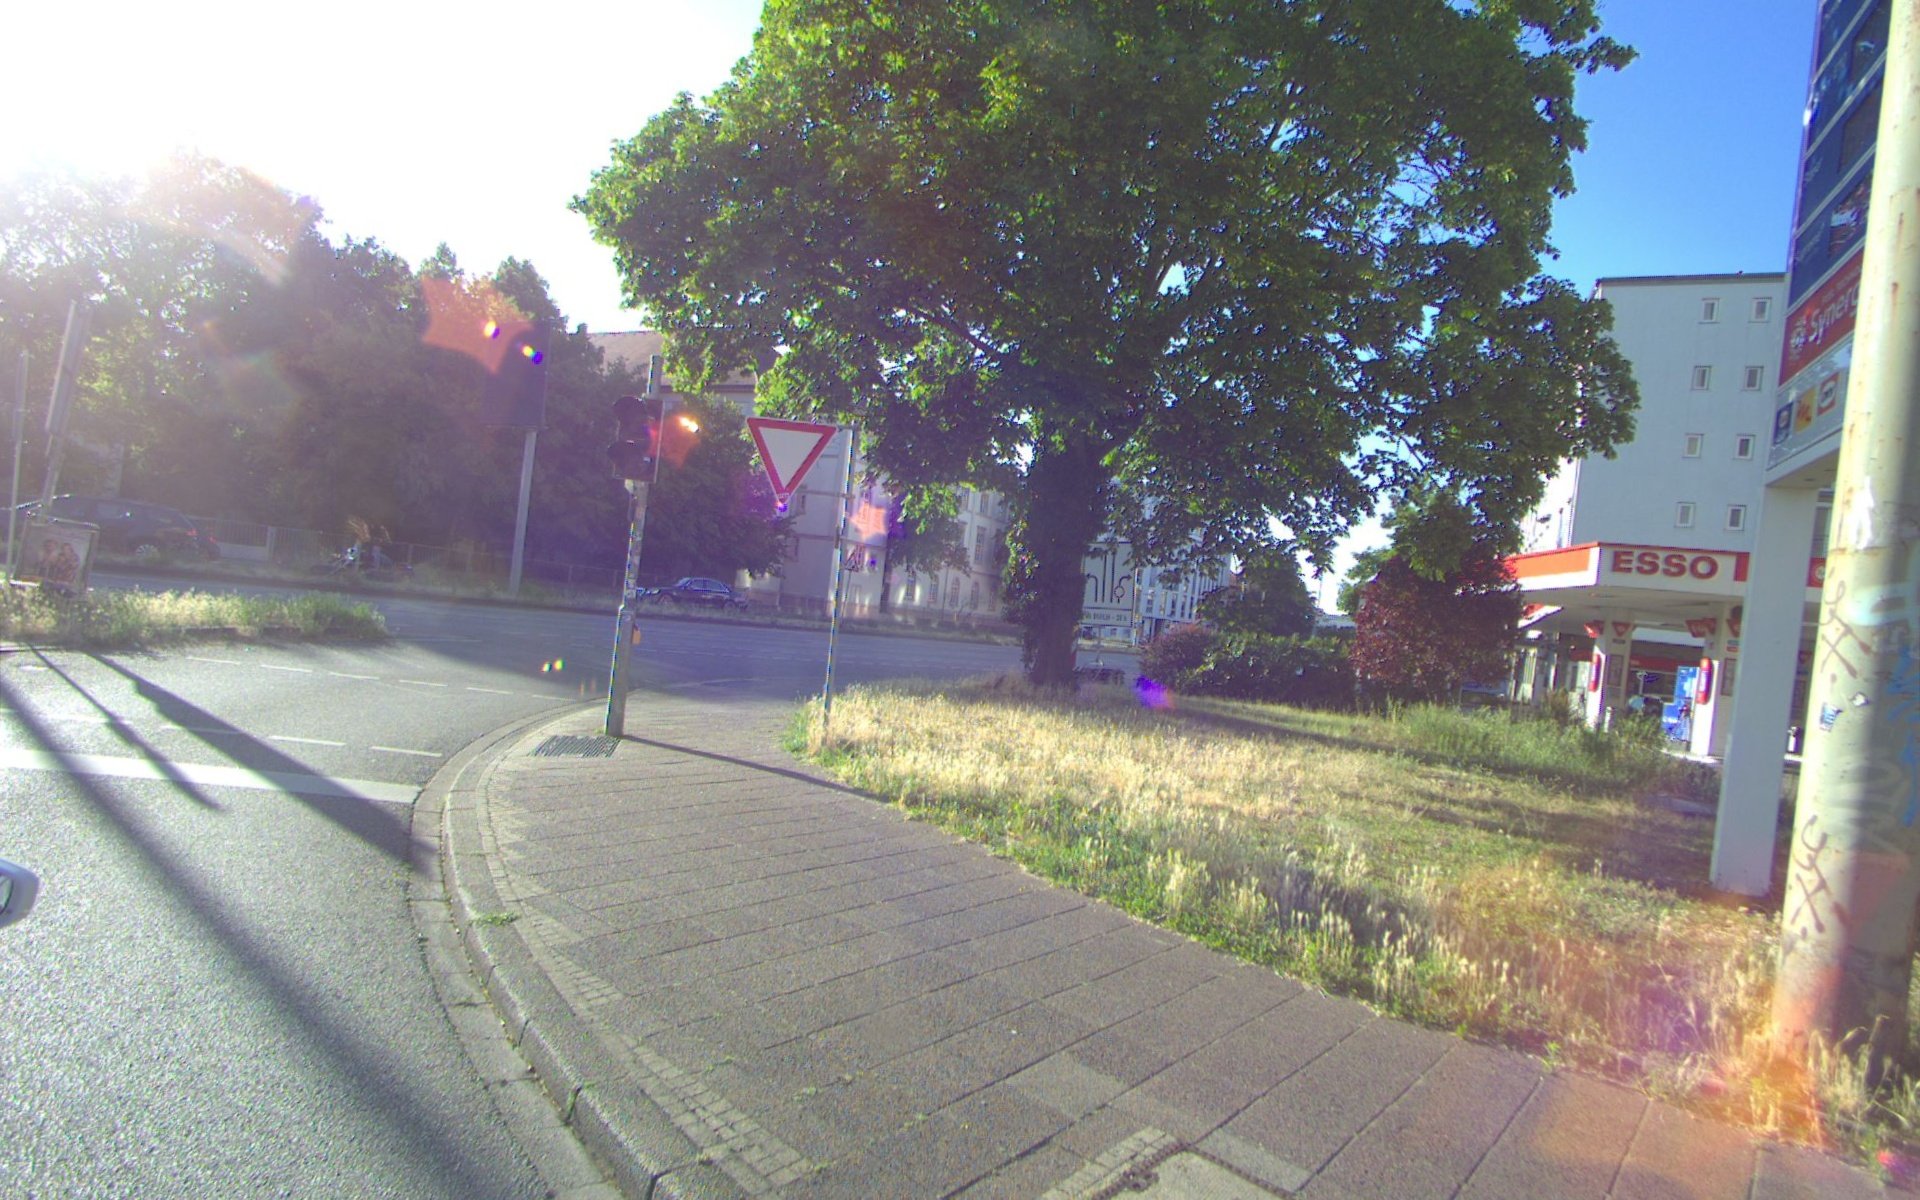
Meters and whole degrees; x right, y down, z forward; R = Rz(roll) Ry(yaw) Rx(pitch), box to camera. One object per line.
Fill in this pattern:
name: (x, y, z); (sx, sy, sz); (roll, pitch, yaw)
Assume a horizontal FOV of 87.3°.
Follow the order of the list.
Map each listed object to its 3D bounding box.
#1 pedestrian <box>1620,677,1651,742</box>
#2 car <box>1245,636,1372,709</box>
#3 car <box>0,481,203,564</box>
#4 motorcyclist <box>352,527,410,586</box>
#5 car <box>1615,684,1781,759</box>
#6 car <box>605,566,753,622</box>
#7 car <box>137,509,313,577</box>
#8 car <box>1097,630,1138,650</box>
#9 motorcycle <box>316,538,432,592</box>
pedestrian: (18.668, 3.016, 27.822); (0.413, 1.726, 0.420); (6, 0, 10)
car: (9.283, 1.959, 26.631); (1.680, 1.593, 3.981); (6, -1, 41)
car: (-19.715, -1.758, 22.373); (1.702, 1.312, 4.353); (7, -1, 44)
motorcyclist: (-15.481, -1.166, 26.900); (0.843, 1.415, 1.055); (7, 0, 44)
car: (20.203, 3.277, 27.774); (1.962, 1.371, 3.999); (7, 1, 9)
car: (-10.750, -0.185, 38.872); (1.970, 1.514, 5.273); (7, -1, 38)
car: (-22.654, -1.741, 31.127); (1.832, 1.482, 3.986); (7, 0, 37)
car: (18.760, 4.717, 119.761); (4.311, 1.854, 2.001); (7, 0, 18)
motorcycle: (-15.572, -0.910, 26.808); (0.850, 1.121, 2.456); (7, -1, 44)
